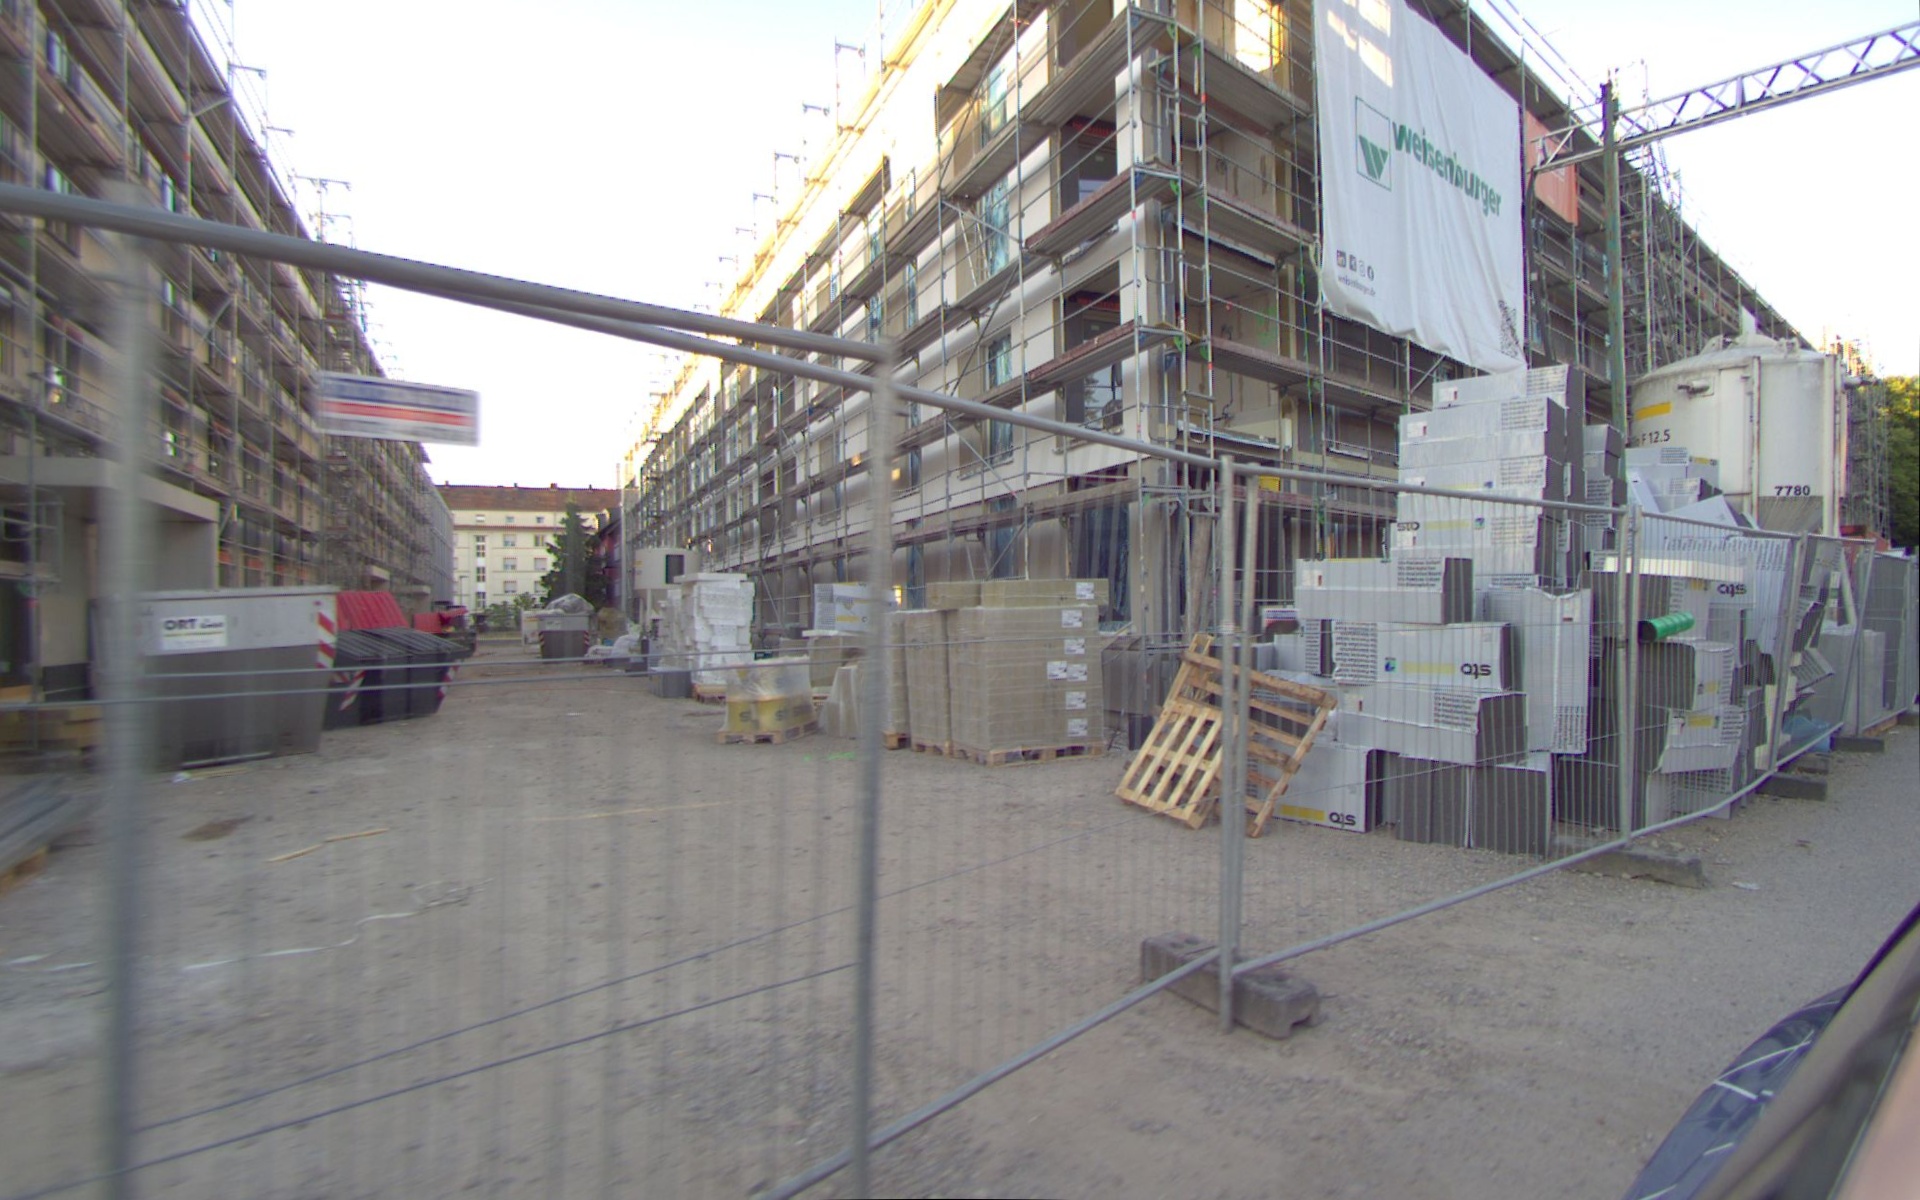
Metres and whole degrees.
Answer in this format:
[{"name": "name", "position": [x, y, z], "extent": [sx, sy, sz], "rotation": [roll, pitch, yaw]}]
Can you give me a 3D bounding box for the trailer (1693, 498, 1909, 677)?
[{"name": "trailer", "position": [16.539, -0.239, 19.751], "extent": [6.134, 2.949, 2.576], "rotation": [-1, 0, -44]}]
